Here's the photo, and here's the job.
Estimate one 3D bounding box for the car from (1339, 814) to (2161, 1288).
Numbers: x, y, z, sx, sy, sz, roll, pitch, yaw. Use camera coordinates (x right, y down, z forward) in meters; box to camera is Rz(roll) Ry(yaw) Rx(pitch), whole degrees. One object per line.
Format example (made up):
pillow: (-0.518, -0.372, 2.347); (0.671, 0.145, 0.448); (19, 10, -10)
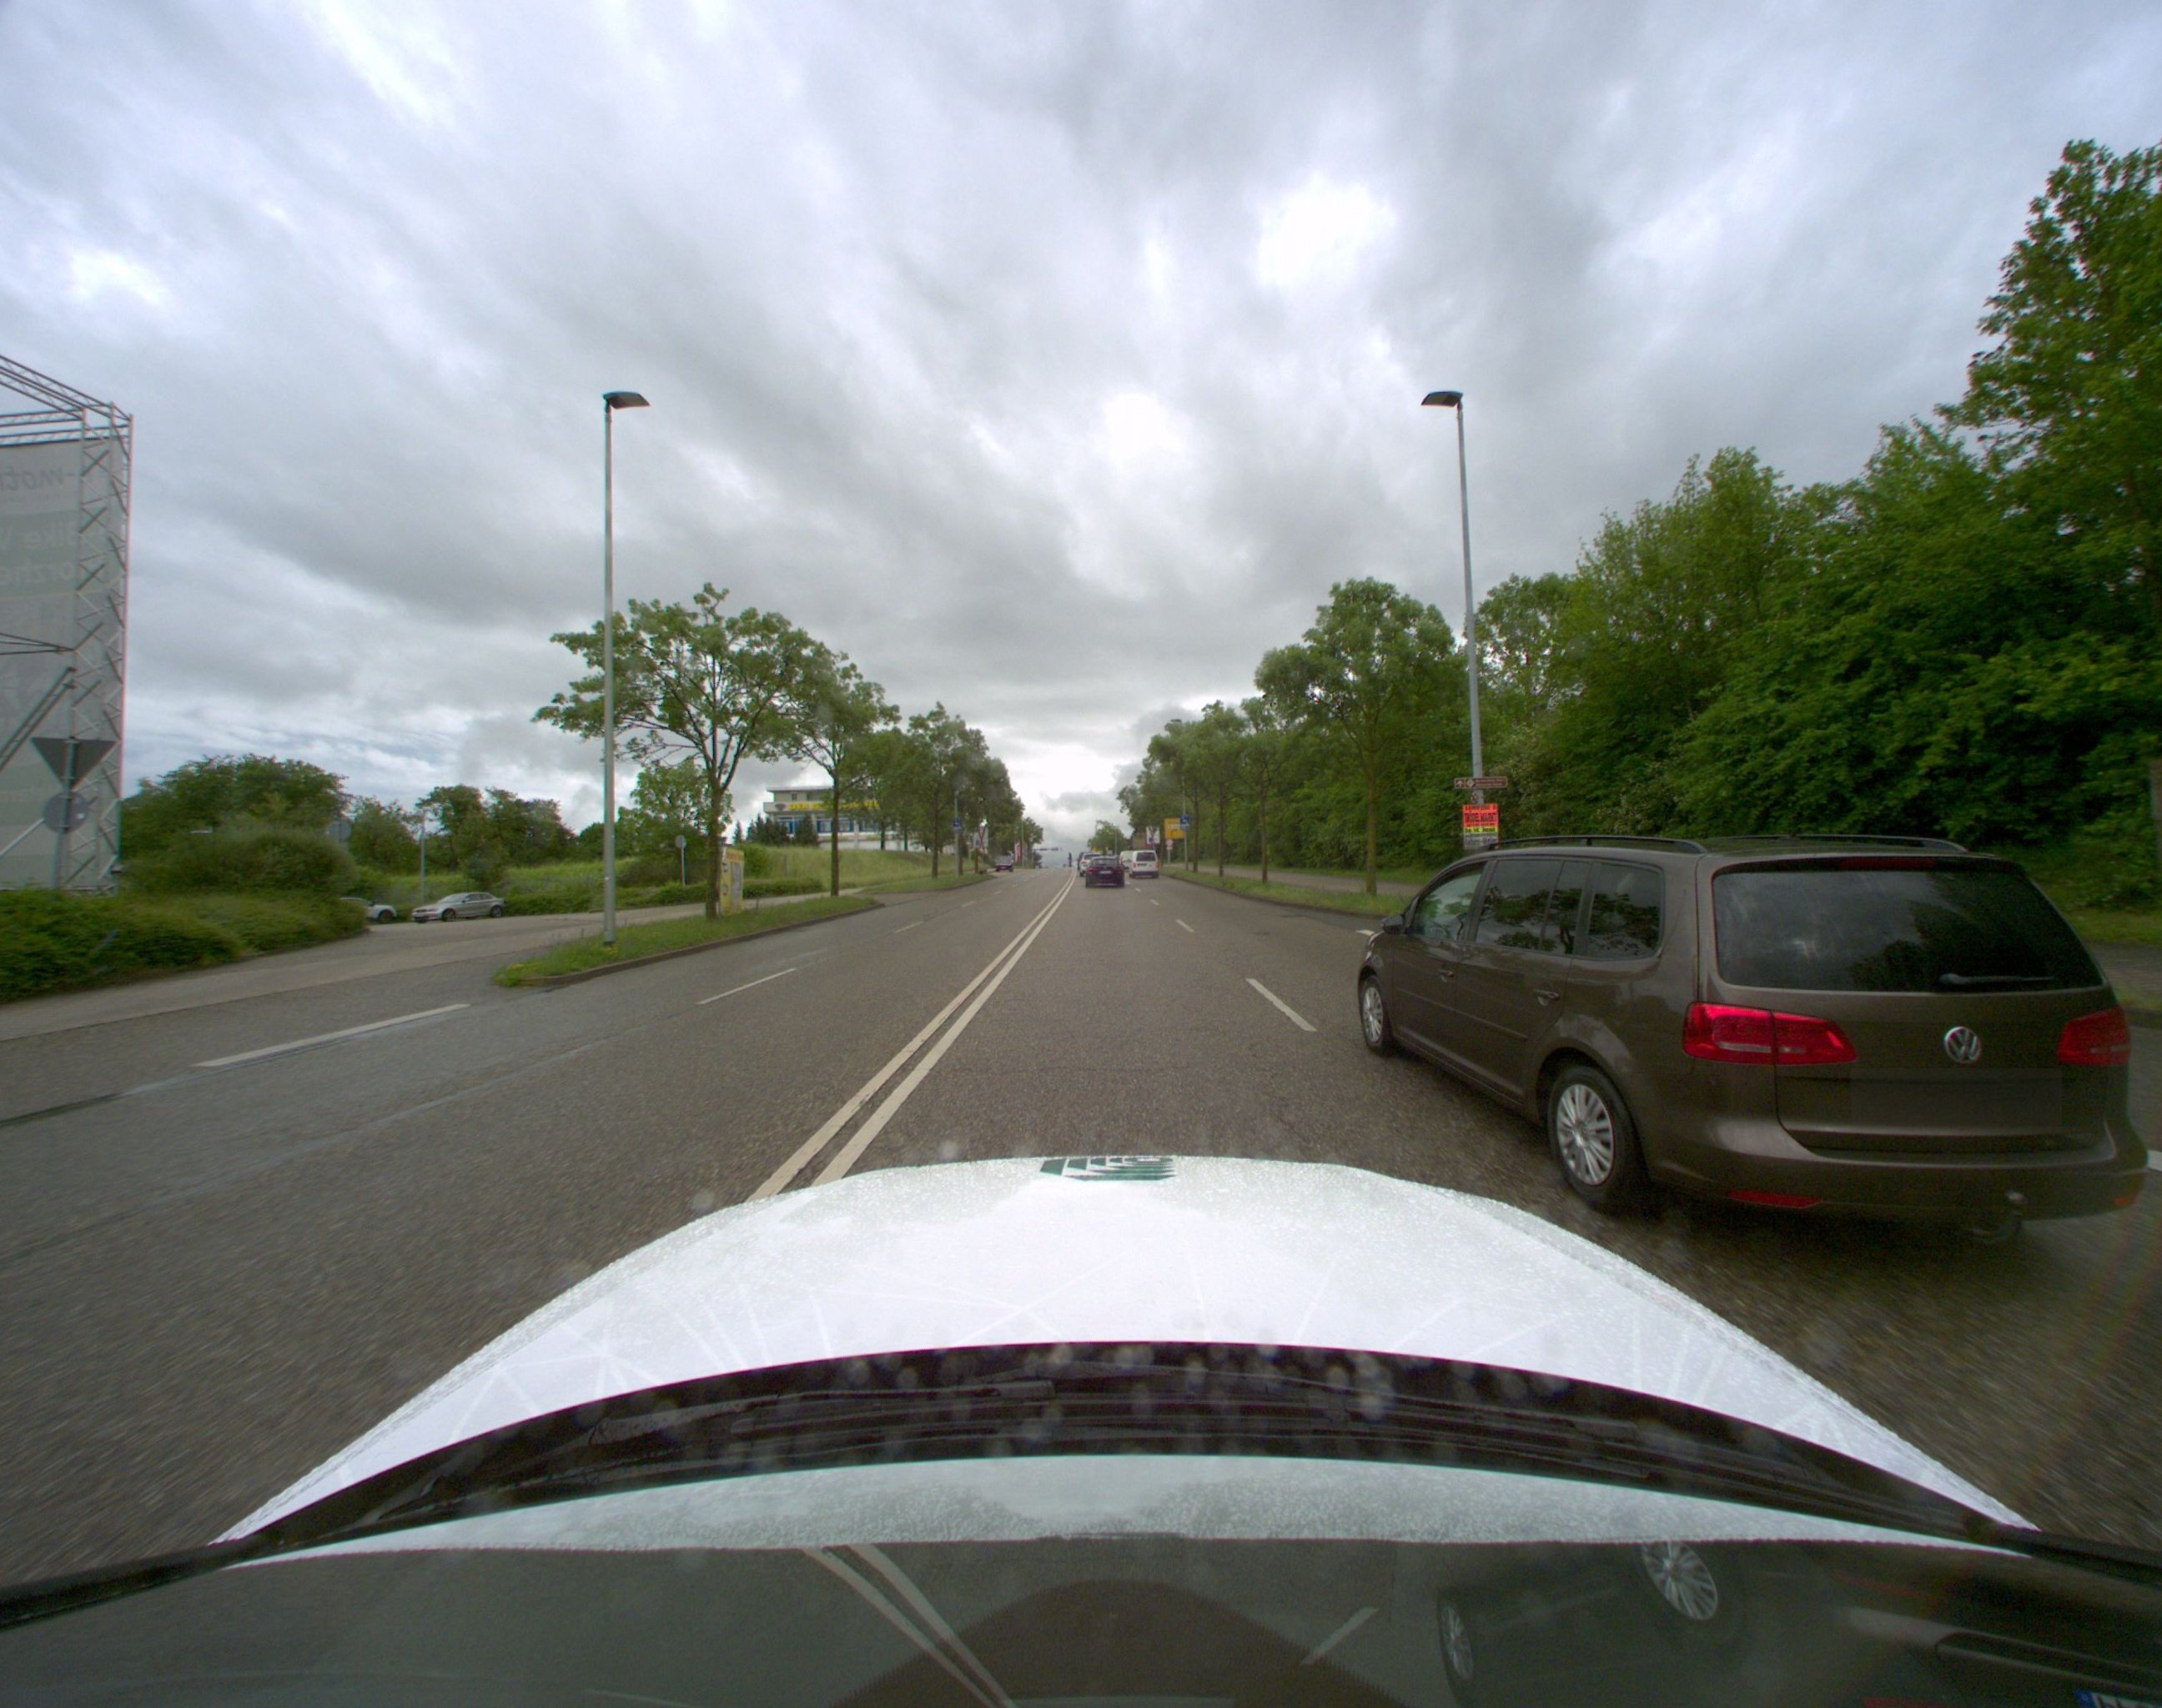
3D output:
car: (3.029, 0.687, 4.848); (1.708, 1.596, 4.130); (-1, -1, 1)

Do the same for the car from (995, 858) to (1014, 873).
car: (-8.583, 1.248, 91.722); (1.721, 1.668, 4.486); (0, 0, 0)

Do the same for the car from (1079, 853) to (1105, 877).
car: (0.793, 0.772, 58.028); (1.721, 1.711, 3.384); (0, 0, 3)

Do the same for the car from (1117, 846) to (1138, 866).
car: (4.235, 0.203, 74.521); (1.808, 1.708, 3.947); (-2, 0, 1)

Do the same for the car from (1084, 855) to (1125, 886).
car: (1.152, 0.773, 39.481); (1.848, 1.419, 3.958); (0, 0, 2)

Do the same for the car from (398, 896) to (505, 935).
car: (-31.936, 3.079, 41.469); (1.520, 1.614, 4.310); (-2, 0, 12)

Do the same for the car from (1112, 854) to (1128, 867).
car: (4.316, 0.702, 89.531); (1.595, 1.372, 3.680); (-2, 0, 1)

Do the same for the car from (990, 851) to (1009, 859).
car: (-16.263, 0.194, 162.297); (3.824, 1.482, 1.737); (-1, -1, -8)

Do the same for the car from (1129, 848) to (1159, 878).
car: (4.099, 0.568, 53.135); (1.735, 1.869, 3.947); (0, 0, 1)

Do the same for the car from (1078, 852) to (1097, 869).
car: (0.662, 0.644, 81.839); (1.752, 1.708, 3.947); (-2, 0, 1)
